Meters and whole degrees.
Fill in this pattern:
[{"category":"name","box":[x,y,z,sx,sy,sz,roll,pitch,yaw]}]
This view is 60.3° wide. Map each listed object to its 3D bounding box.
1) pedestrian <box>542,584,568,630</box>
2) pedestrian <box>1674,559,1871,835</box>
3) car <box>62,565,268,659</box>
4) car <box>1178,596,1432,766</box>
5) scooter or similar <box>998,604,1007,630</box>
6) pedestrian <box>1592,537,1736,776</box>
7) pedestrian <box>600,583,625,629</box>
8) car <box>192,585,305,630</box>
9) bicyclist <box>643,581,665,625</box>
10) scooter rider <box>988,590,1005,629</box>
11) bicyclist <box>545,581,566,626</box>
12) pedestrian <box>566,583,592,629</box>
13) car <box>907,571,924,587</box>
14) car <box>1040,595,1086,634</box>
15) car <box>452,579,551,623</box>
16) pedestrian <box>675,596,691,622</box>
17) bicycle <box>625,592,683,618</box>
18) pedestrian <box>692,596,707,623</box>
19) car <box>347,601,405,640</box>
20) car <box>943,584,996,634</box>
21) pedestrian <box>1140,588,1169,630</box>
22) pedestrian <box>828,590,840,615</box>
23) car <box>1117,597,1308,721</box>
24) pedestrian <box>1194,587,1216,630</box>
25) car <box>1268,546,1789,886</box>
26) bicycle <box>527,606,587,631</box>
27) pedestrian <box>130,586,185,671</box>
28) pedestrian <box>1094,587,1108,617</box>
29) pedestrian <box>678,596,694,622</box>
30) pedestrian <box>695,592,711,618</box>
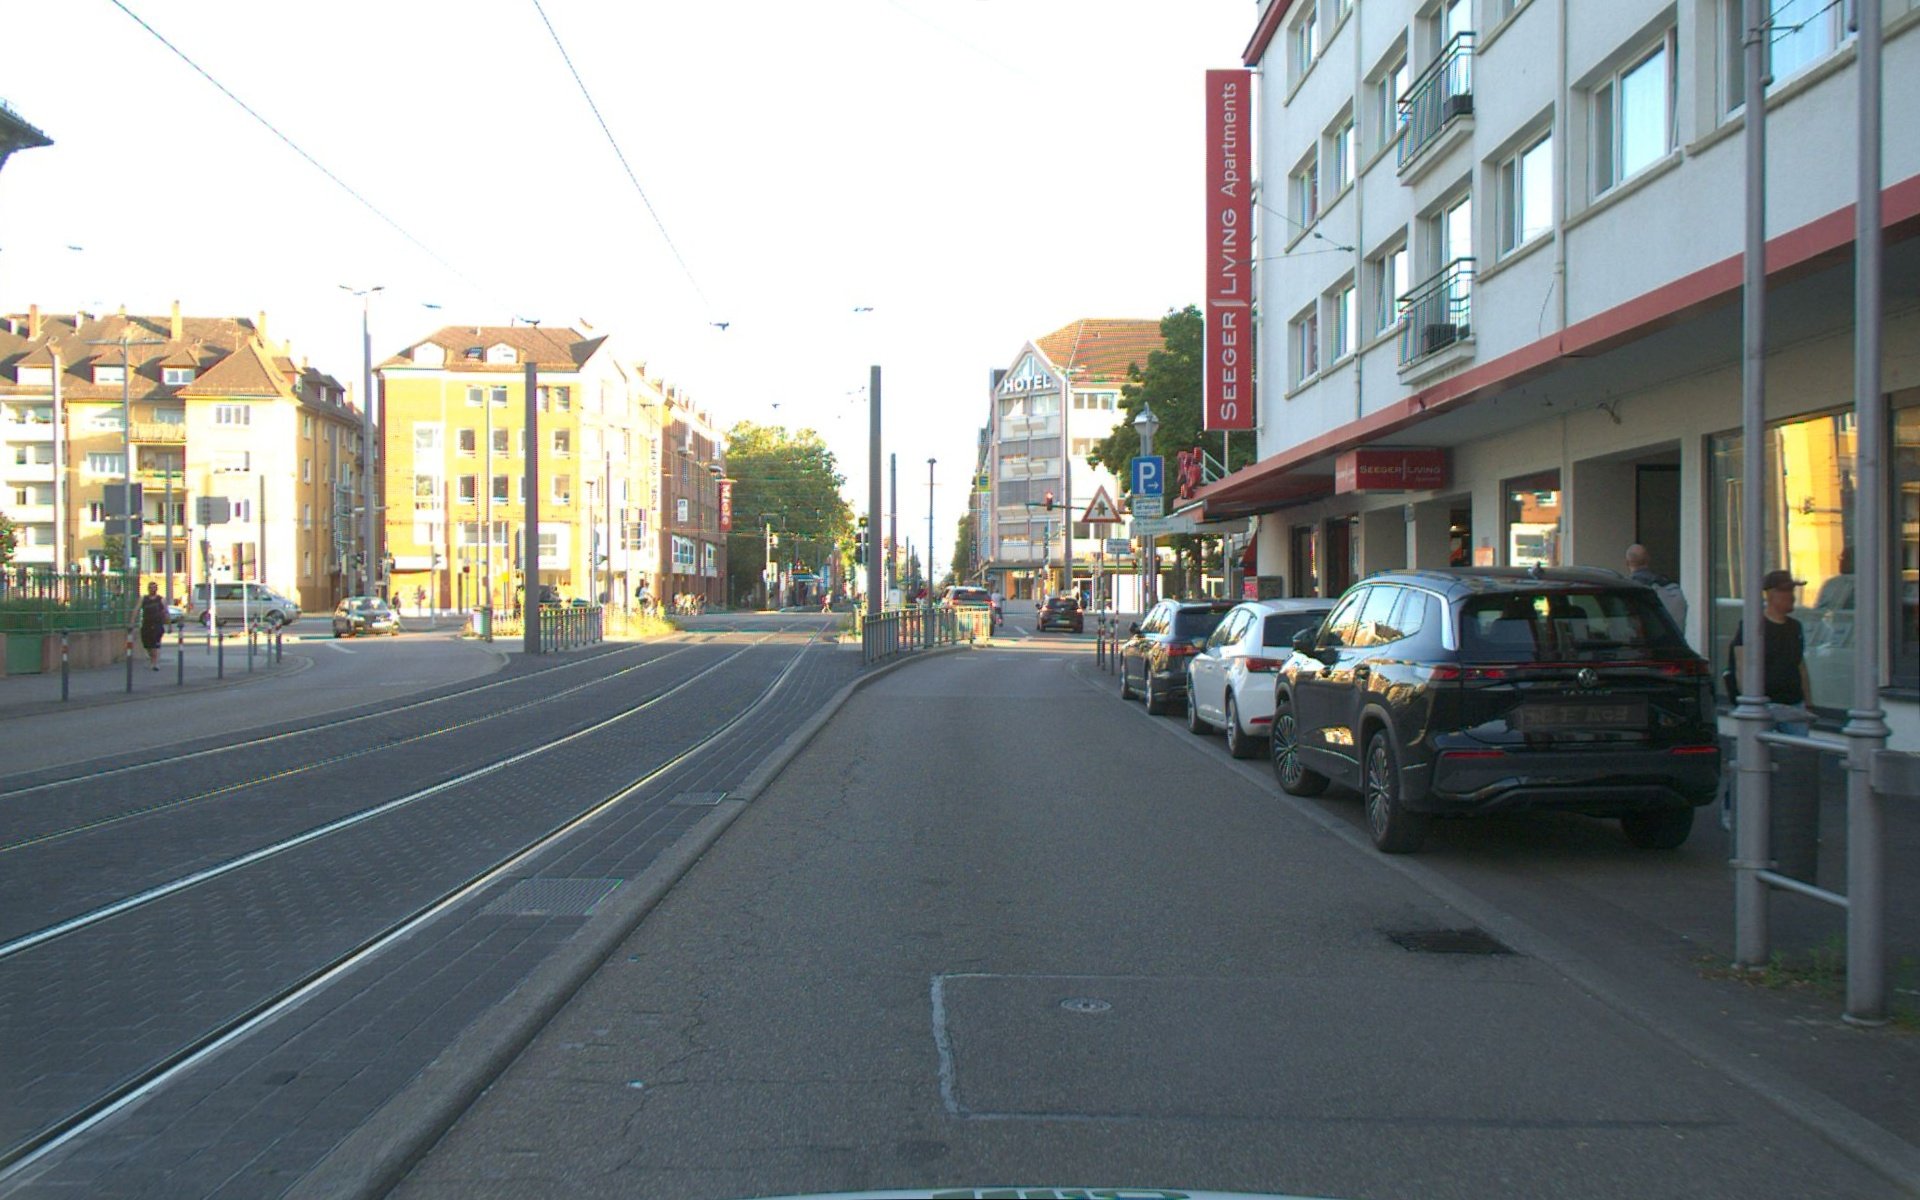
[{"category":"pedestrian","box":[-12.445,0.204,50.858,0.650,1.399,0.651,0,0,-3]},{"category":"pedestrian","box":[4.941,0.561,10.114,0.718,1.601,0.966,0,0,-1]},{"category":"car","box":[-17.964,0.255,37.577,3.923,2.049,1.991,0,0,-17]},{"category":"car","box":[3.312,0.725,16.626,1.617,1.445,4.190,2,0,0]},{"category":"scooter or similar","box":[1.852,0.742,71.470,0.273,1.110,1.258,1,0,6]},{"category":"pedestrian","box":[5.861,0.457,13.811,0.759,1.913,0.934,-1,0,-2]},{"category":"pedestrian","box":[-10.694,0.175,50.895,0.650,1.399,0.651,0,0,-3]},{"category":"car","box":[-33.348,0.313,77.615,4.606,2.049,1.992,0,0,-16]},{"category":"bicyclist","box":[-14.334,0.155,77.519,0.848,2.049,0.642,2,-1,-22]},{"category":"scooter rider","box":[1.572,0.412,71.334,0.648,1.676,0.661,1,-1,8]},{"category":"bicyclist","box":[-18.673,0.150,76.365,0.847,2.049,0.643,2,-1,-20]},{"category":"pedestrian","box":[-11.717,0.194,50.884,0.650,1.399,0.651,0,0,-4]},{"category":"car","box":[-5.734,-2.672,213.084,1.952,1.934,4.000,2,0,0]},{"category":"car","box":[4.092,0.564,66.322,1.727,1.465,4.001,0,0,2]},{"category":"car","box":[-22.219,0.045,80.322,4.481,2.072,1.994,0,0,-13]},{"category":"pedestrian","box":[-21.589,0.692,128.971,1.071,2.049,0.908,2,-1,-3]},{"category":"bicycle","box":[-14.338,0.244,77.511,2.601,1.119,0.433,2,-1,-21]},{"category":"pedestrian","box":[-20.362,0.736,129.231,0.957,2.049,0.908,2,-1,-3]},{"category":"car","box":[-21.434,0.727,60.639,1.743,1.400,4.192,0,0,-23]},{"category":"car","box":[0.348,0.355,58.624,1.797,1.665,4.090,-1,-1,1]},{"category":"pedestrian","box":[8.024,0.378,68.360,0.811,1.714,1.043,2,-1,-19]},{"category":"pedestrian","box":[-9.604,0.192,125.873,0.789,1.855,0.703,1,-1,1]},{"category":"car","box":[3.250,0.723,22.186,1.753,1.437,4.686,2,0,-1]},{"category":"pedestrian","box":[10.365,0.354,69.946,0.731,1.809,0.973,2,-1,1]},{"category":"car","box":[3.395,0.620,10.877,1.818,1.730,4.417,2,0,-1]},{"category":"bicycle","box":[-18.617,0.856,76.413,2.601,1.119,0.433,2,-1,-21]},{"category":"pedestrian","box":[-15.027,0.526,30.969,0.705,1.563,0.718,0,0,-5]},{"category":"pedestrian","box":[8.476,0.126,99.205,0.731,1.809,0.800,1,-1,2]},{"category":"pedestrian","box":[-21.560,0.707,130.172,1.071,2.049,0.908,2,-1,-3]},{"category":"pedestrian","box":[-20.708,0.377,133.443,1.071,2.049,1.162,2,-1,-3]}]
